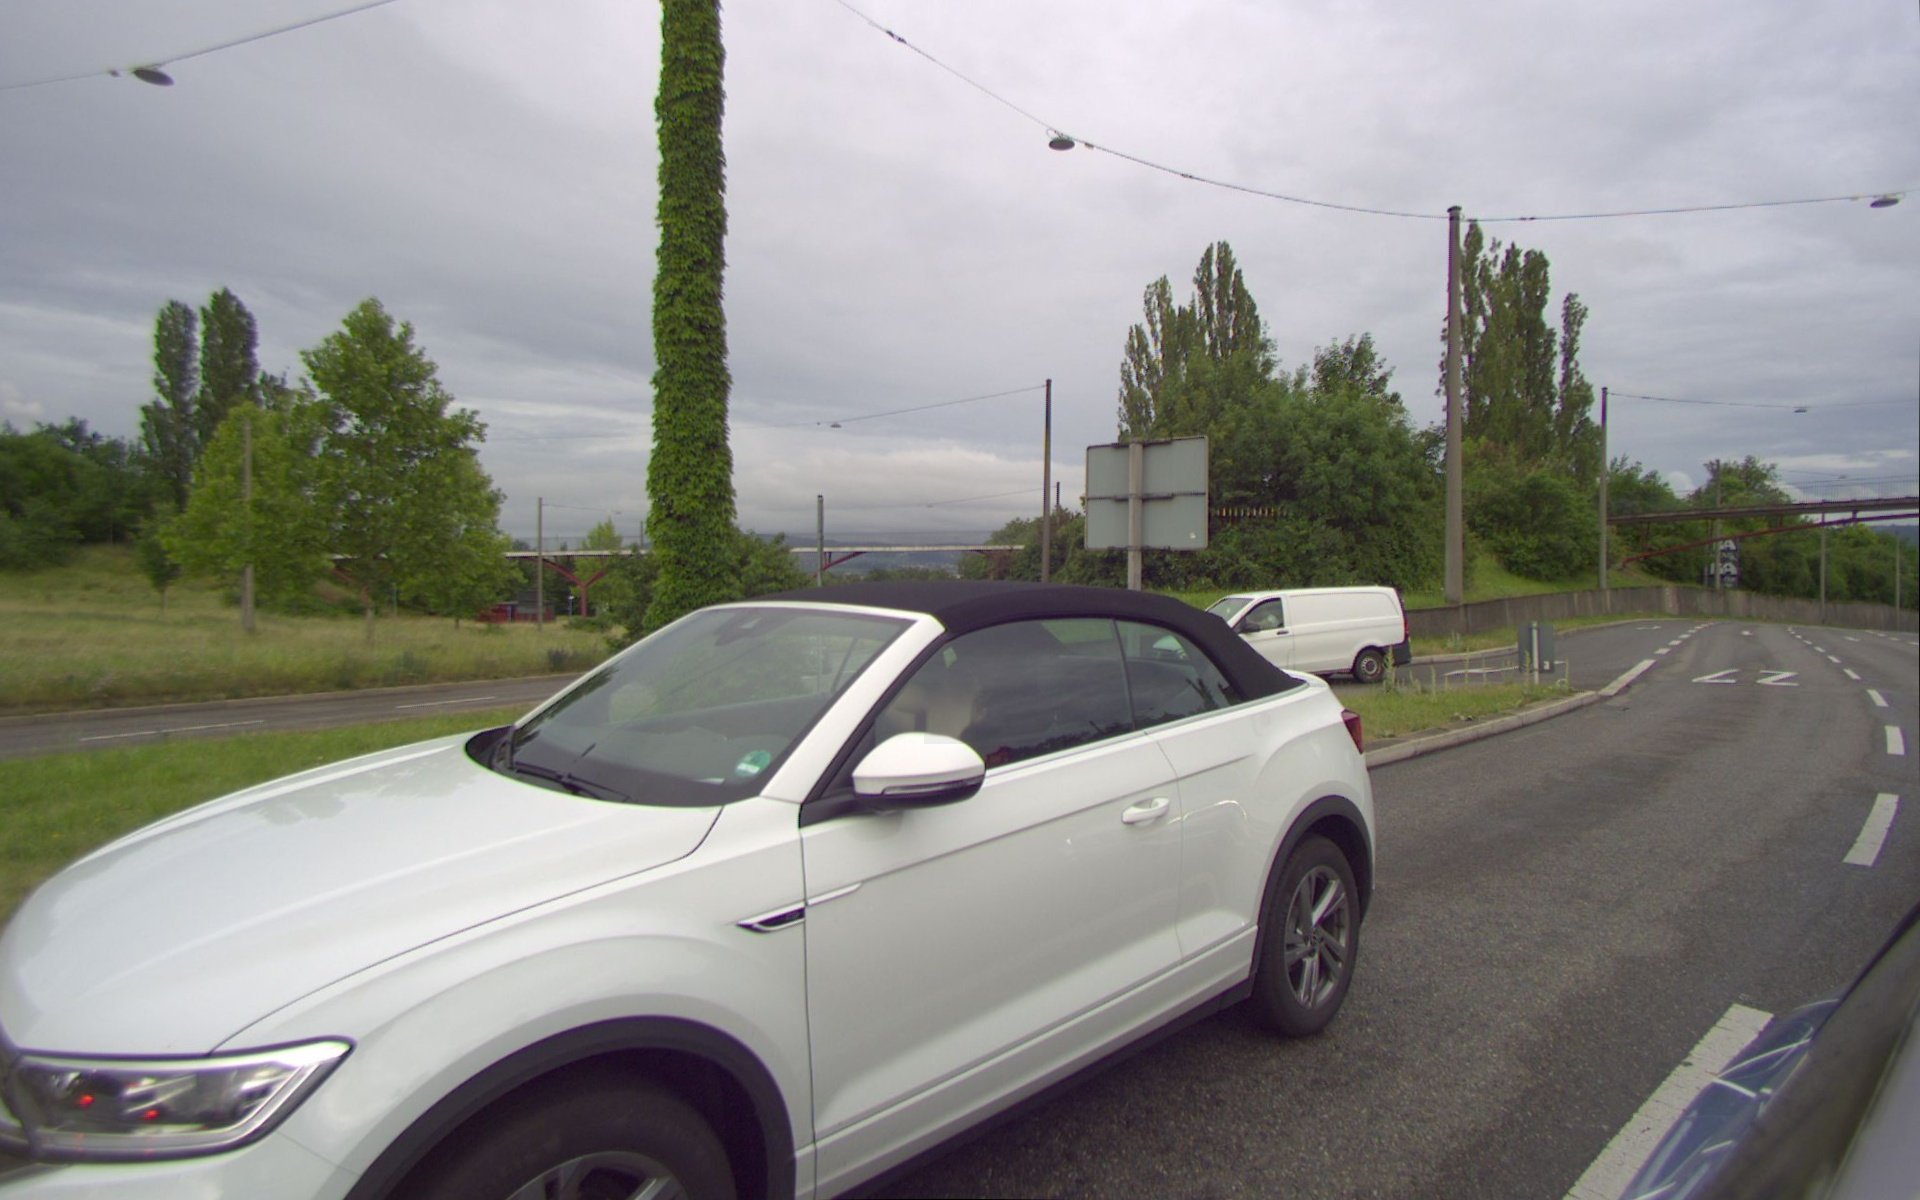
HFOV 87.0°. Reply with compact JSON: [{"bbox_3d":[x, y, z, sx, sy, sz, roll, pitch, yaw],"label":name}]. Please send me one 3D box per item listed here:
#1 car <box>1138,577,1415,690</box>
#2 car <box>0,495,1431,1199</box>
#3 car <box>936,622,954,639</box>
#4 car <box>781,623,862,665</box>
[{"bbox_3d":[6.169,0.645,19.977,4.724,1.872,2.002,-3,-3,-12],"label":"car"},{"bbox_3d":[-0.248,0.635,3.090,4.160,1.572,1.714,-1,1,-44],"label":"car"},{"bbox_3d":[-1.472,2.993,100.270,1.669,1.494,4.291,0,1,2],"label":"car"},{"bbox_3d":[-5.162,1.626,38.152,1.660,1.438,4.064,-2,-2,13],"label":"car"}]
